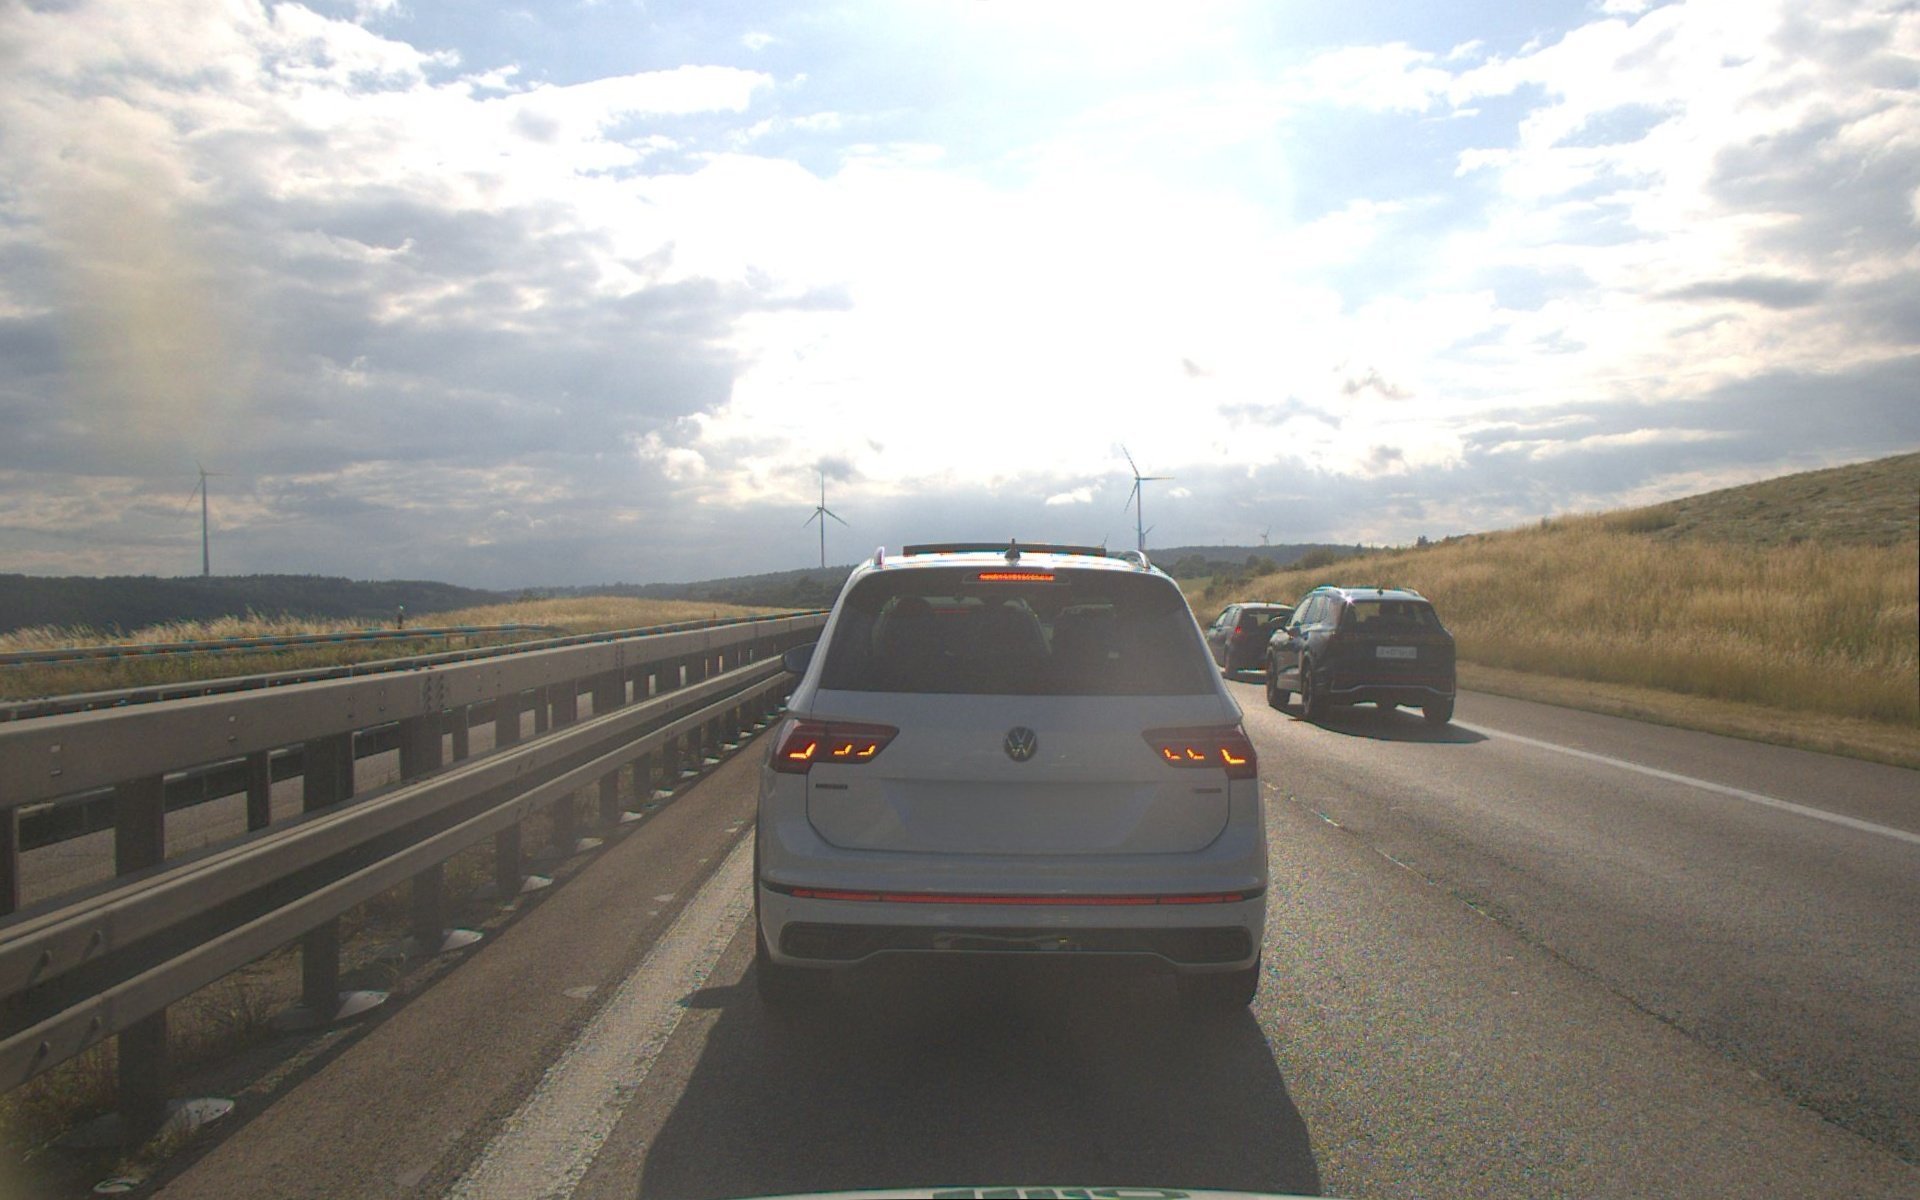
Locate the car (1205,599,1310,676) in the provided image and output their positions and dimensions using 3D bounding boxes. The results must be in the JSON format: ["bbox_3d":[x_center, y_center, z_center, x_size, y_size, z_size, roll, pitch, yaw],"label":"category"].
[{"bbox_3d":[5.871,0.706,32.987,1.572,1.445,3.673,0,0,2],"label":"car"}]

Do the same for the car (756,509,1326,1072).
[{"bbox_3d":[0.224,0.584,7.032,1.734,1.705,3.999,0,0,-1],"label":"car"}]

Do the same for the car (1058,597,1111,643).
[{"bbox_3d":[4.720,0.742,63.132,1.669,1.679,3.999,0,0,-1],"label":"car"}]

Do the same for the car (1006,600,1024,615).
[{"bbox_3d":[5.794,0.829,175.131,1.669,1.573,3.999,0,0,-1],"label":"car"}]

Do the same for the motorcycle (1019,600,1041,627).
[{"bbox_3d":[3.186,0.601,75.275,0.877,1.211,2.256,0,0,-1],"label":"motorcycle"}]

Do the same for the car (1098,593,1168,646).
[{"bbox_3d":[5.269,0.579,50.673,1.669,1.573,3.999,0,0,-1],"label":"car"}]

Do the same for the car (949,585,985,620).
[{"bbox_3d":[0.329,0.129,80.323,1.669,1.679,3.999,0,0,-1],"label":"car"}]

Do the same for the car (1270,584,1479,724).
[{"bbox_3d":[5.375,0.657,21.967,1.783,1.629,4.235,2,0,2],"label":"car"}]

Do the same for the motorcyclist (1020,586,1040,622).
[{"bbox_3d":[3.190,0.183,75.233,0.832,1.587,0.934,0,0,-1],"label":"motorcyclist"}]

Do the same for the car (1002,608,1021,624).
[{"bbox_3d":[5.059,1.544,162.707,1.669,1.573,3.999,0,0,-1],"label":"car"}]

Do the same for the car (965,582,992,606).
[{"bbox_3d":[1.198,-0.397,110.101,1.669,1.573,3.999,0,0,-1],"label":"car"}]

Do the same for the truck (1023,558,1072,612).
[{"bbox_3d":[6.180,-1.078,118.344,3.118,3.656,11.132,0,0,1],"label":"truck"}]
